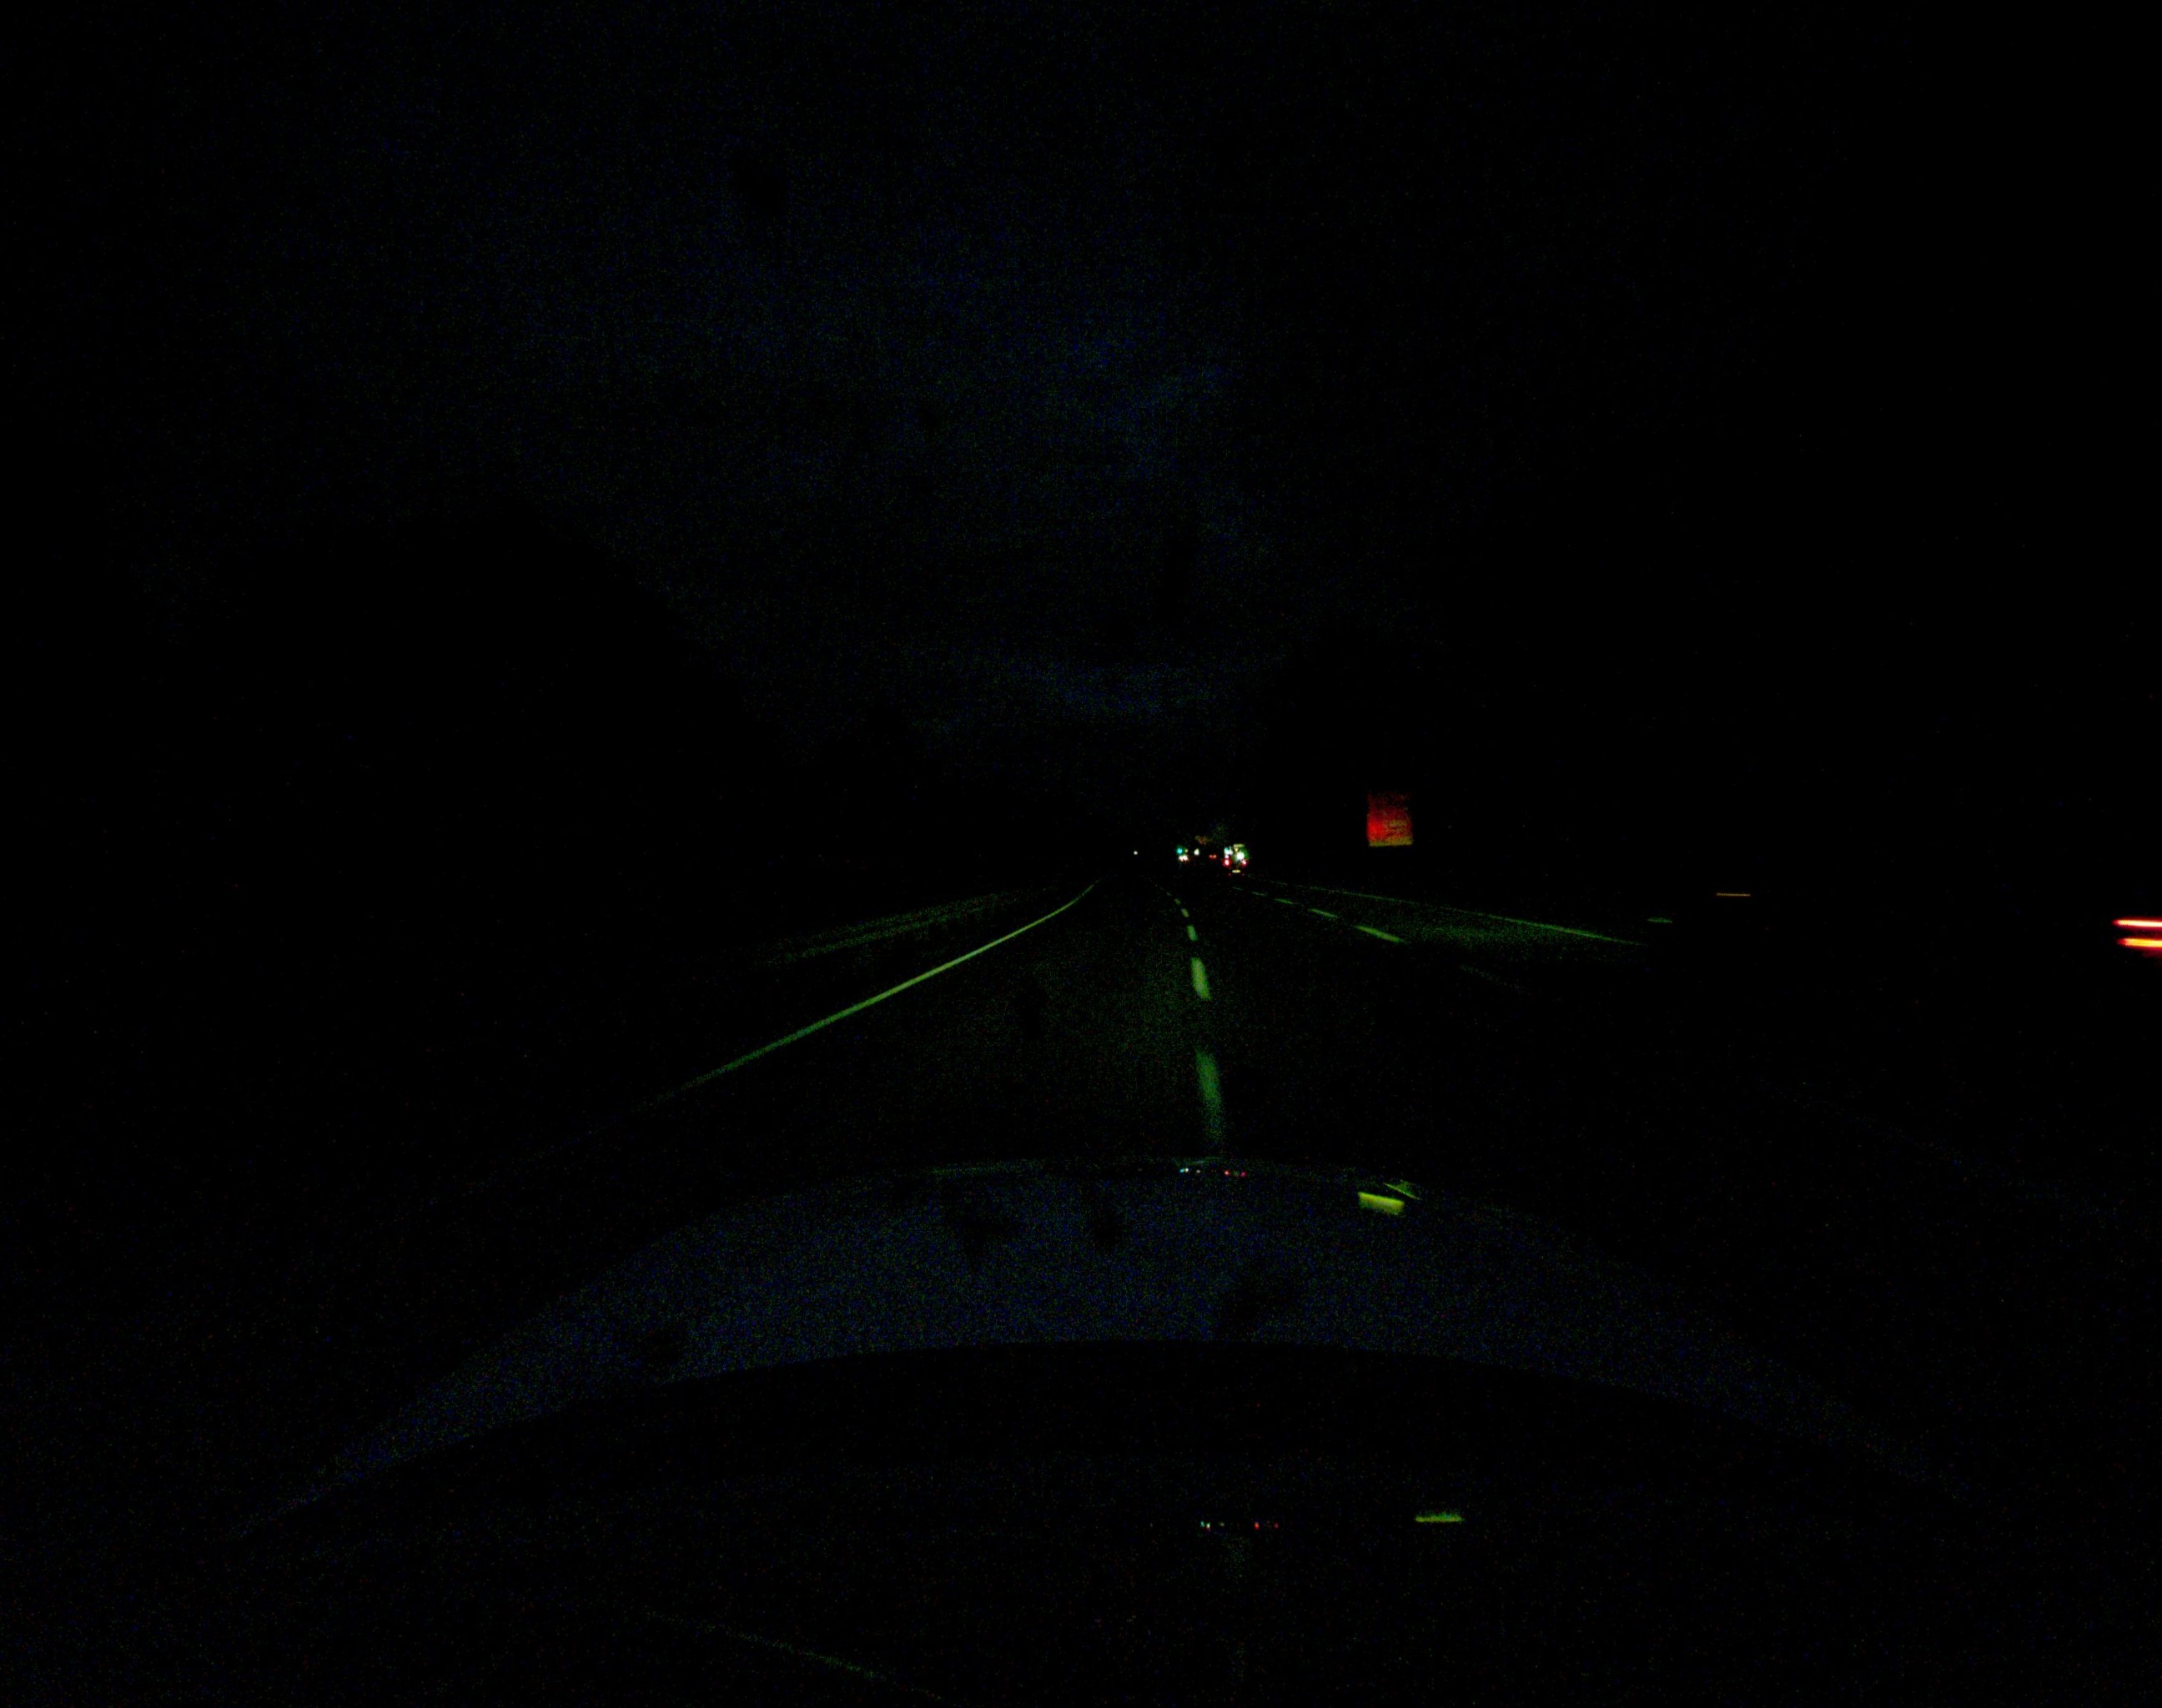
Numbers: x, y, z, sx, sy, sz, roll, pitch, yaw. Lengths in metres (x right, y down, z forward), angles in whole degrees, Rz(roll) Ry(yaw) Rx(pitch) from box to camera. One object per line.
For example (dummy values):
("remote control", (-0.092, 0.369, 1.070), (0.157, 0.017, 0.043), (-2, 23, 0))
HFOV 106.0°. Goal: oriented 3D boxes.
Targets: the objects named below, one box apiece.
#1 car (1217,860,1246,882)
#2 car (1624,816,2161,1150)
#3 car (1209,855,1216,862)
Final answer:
("car", (10.420, 1.134, 56.603), (1.743, 1.453, 4.442), (-1, -1, 7))
("car", (6.389, 0.614, 6.124), (1.891, 1.620, 4.563), (-1, 0, 5))
("car", (39.523, 1.378, 244.271), (1.982, 1.750, 4.009), (-5, -2, 9))
